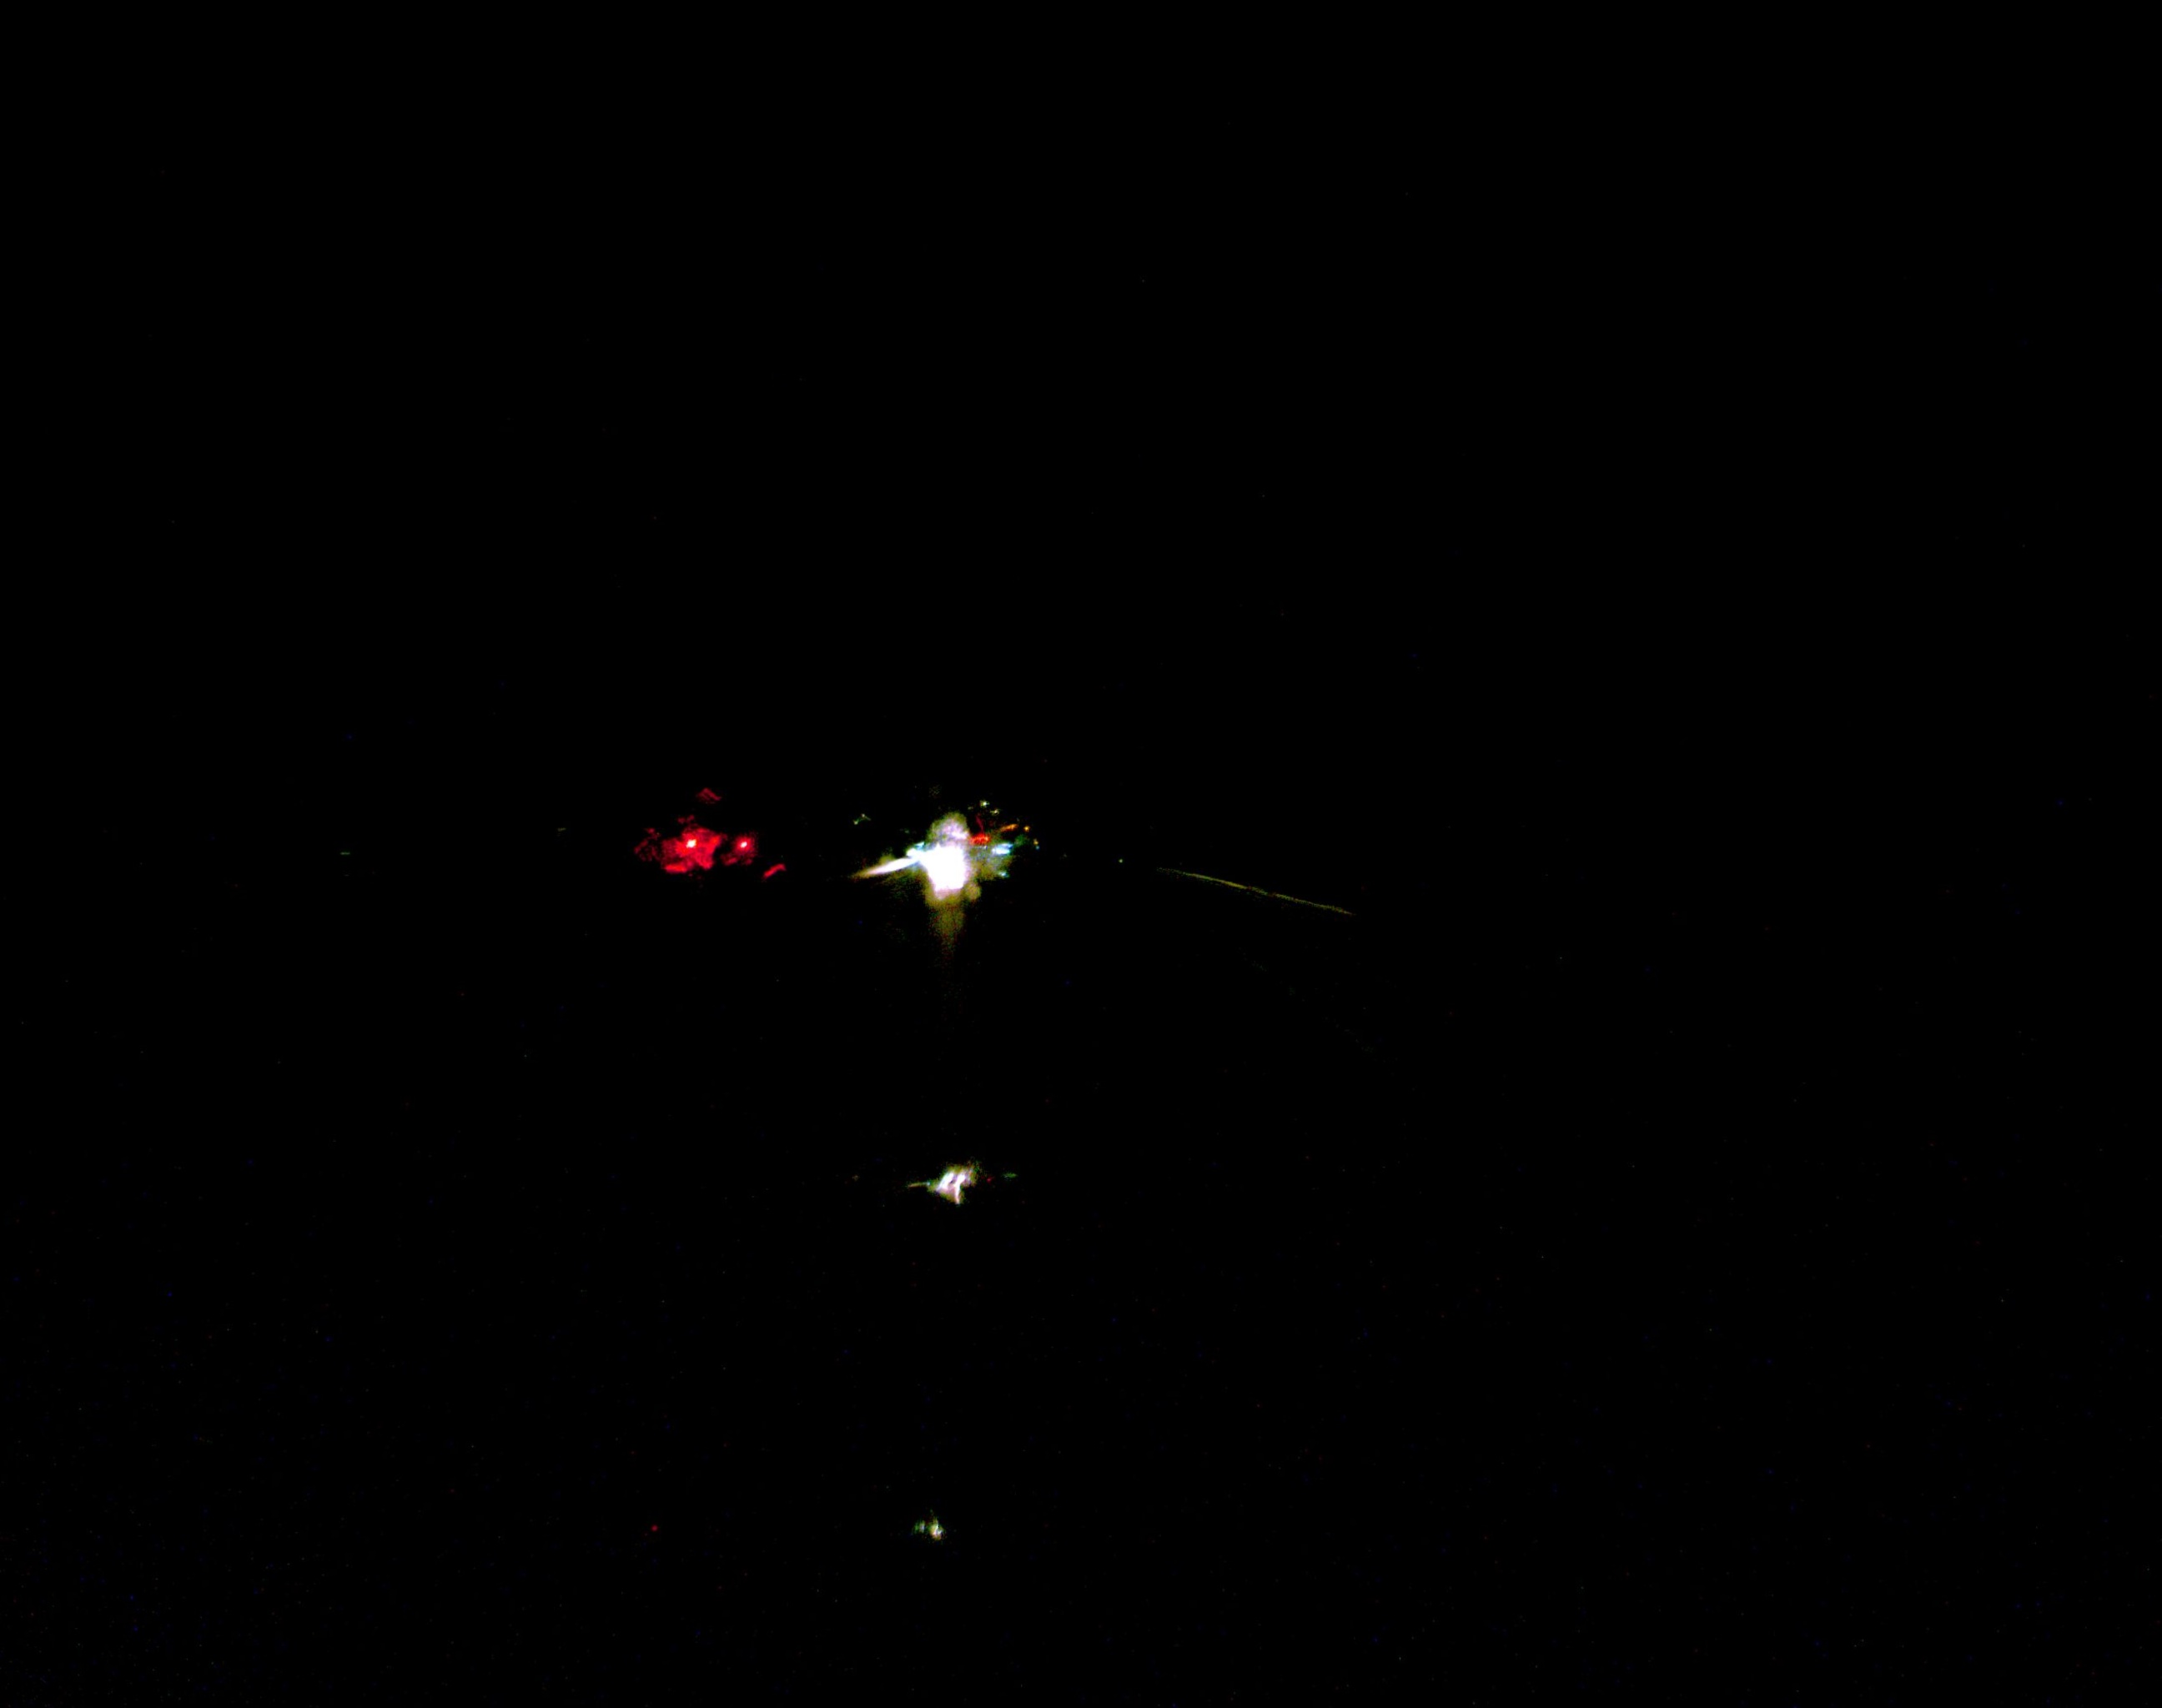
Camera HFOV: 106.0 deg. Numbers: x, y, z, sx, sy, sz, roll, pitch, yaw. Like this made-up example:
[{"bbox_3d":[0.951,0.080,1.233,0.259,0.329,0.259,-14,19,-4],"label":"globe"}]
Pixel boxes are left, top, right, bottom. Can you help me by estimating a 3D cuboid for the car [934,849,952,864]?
[{"bbox_3d":[-15.266,0.256,90.143,1.880,1.600,3.888,0,0,-9],"label":"car"}]
